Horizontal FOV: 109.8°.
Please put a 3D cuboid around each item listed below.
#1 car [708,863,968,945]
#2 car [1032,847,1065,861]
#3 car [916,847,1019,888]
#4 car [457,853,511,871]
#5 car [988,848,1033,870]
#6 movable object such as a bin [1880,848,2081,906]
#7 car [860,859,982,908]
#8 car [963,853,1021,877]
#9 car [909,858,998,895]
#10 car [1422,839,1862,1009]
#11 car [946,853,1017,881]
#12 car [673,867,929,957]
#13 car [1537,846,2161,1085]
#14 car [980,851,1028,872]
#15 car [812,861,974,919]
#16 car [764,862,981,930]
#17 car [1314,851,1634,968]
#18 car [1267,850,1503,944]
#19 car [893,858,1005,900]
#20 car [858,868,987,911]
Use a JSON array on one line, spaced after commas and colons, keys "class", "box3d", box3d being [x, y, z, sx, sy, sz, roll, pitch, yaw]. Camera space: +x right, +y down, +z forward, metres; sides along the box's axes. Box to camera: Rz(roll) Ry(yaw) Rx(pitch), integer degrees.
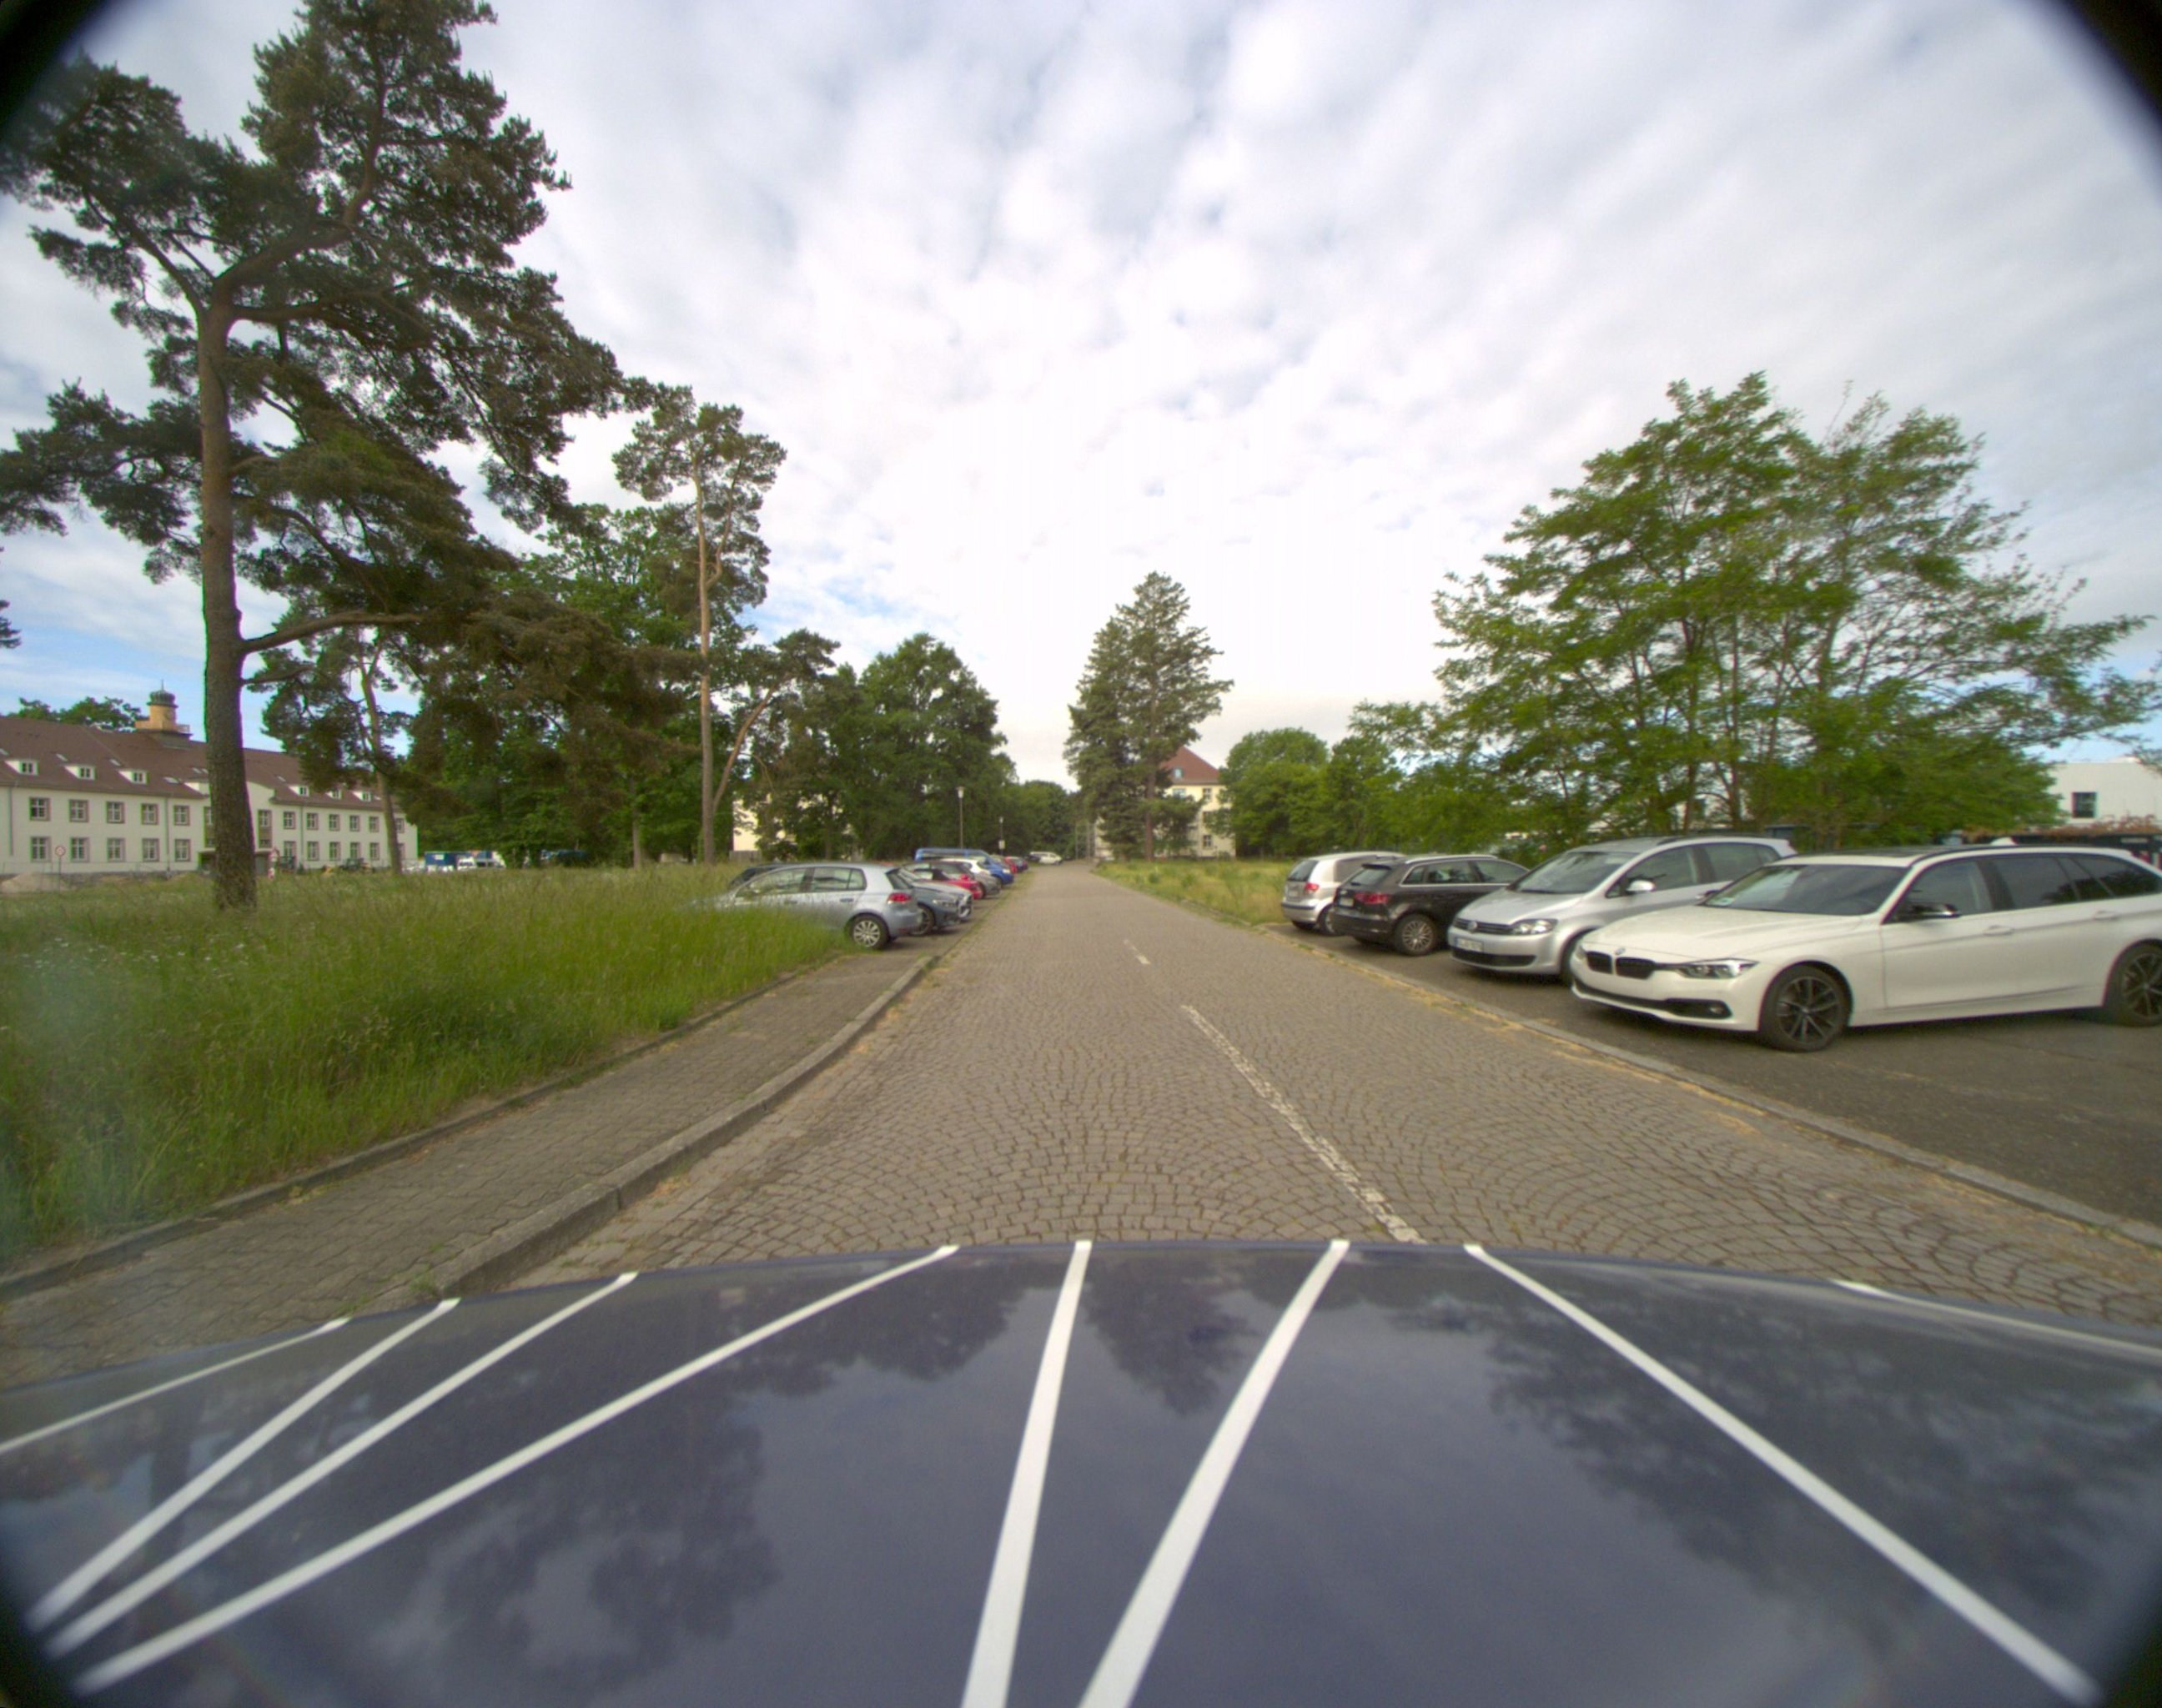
[{"class": "car", "box3d": [-4.796, 0.975, 15.584, 4.771, 1.474, 1.760, -1, 1, -5]}, {"class": "car", "box3d": [-5.054, 0.040, 119.679, 5.031, 2.164, 2.000, -1, 1, 0]}, {"class": "car", "box3d": [-5.422, 0.635, 36.839, 4.750, 1.928, 1.999, 0, 1, -3]}, {"class": "car", "box3d": [-71.314, 0.974, 90.889, 2.154, 2.002, 5.223, -1, 1, 1]}, {"class": "car", "box3d": [-6.576, 0.477, 70.729, 3.997, 2.002, 2.000, -1, 1, -1]}, {"class": "movable object such as a bin", "box3d": [18.917, 0.463, 16.069, 2.397, 1.154, 1.500, -1, 1, 3]}, {"class": "car", "box3d": [-5.333, 0.966, 25.703, 3.787, 1.497, 1.798, -1, 1, -4]}, {"class": "car", "box3d": [-6.529, 0.796, 56.080, 3.998, 1.521, 1.999, -2, 1, -2]}, {"class": "car", "box3d": [-5.237, 0.904, 31.421, 3.409, 1.444, 1.637, -1, 1, -1]}, {"class": "car", "box3d": [6.393, 0.710, 8.896, 3.999, 1.538, 1.723, -3, 1, -7]}, {"class": "car", "box3d": [-5.934, 0.774, 45.766, 3.998, 1.601, 1.999, -1, 1, -2]}, {"class": "car", "box3d": [-4.629, 0.951, 12.973, 3.774, 1.418, 1.605, 0, 0, -3]}, {"class": "car", "box3d": [6.696, 0.774, 6.443, 4.661, 1.435, 1.800, -3, 1, -6]}, {"class": "car", "box3d": [-6.662, 0.602, 66.327, 4.008, 1.752, 2.000, -1, 1, -1]}, {"class": "car", "box3d": [-5.025, 0.956, 20.738, 3.972, 1.444, 1.799, -1, 1, -2]}, {"class": "car", "box3d": [-4.932, 0.970, 18.465, 4.770, 1.474, 1.812, -1, 1, -2]}, {"class": "car", "box3d": [5.899, 0.776, 11.706, 3.998, 1.419, 1.750, -3, 1, -3]}, {"class": "car", "box3d": [5.676, 0.752, 14.448, 3.689, 1.444, 1.807, -3, 1, -7]}, {"class": "car", "box3d": [-4.907, 0.918, 28.608, 3.849, 1.448, 1.820, -1, 1, 0]}, {"class": "car", "box3d": [-4.753, 1.066, 23.083, 3.600, 1.200, 1.494, -1, 0, -1]}]
